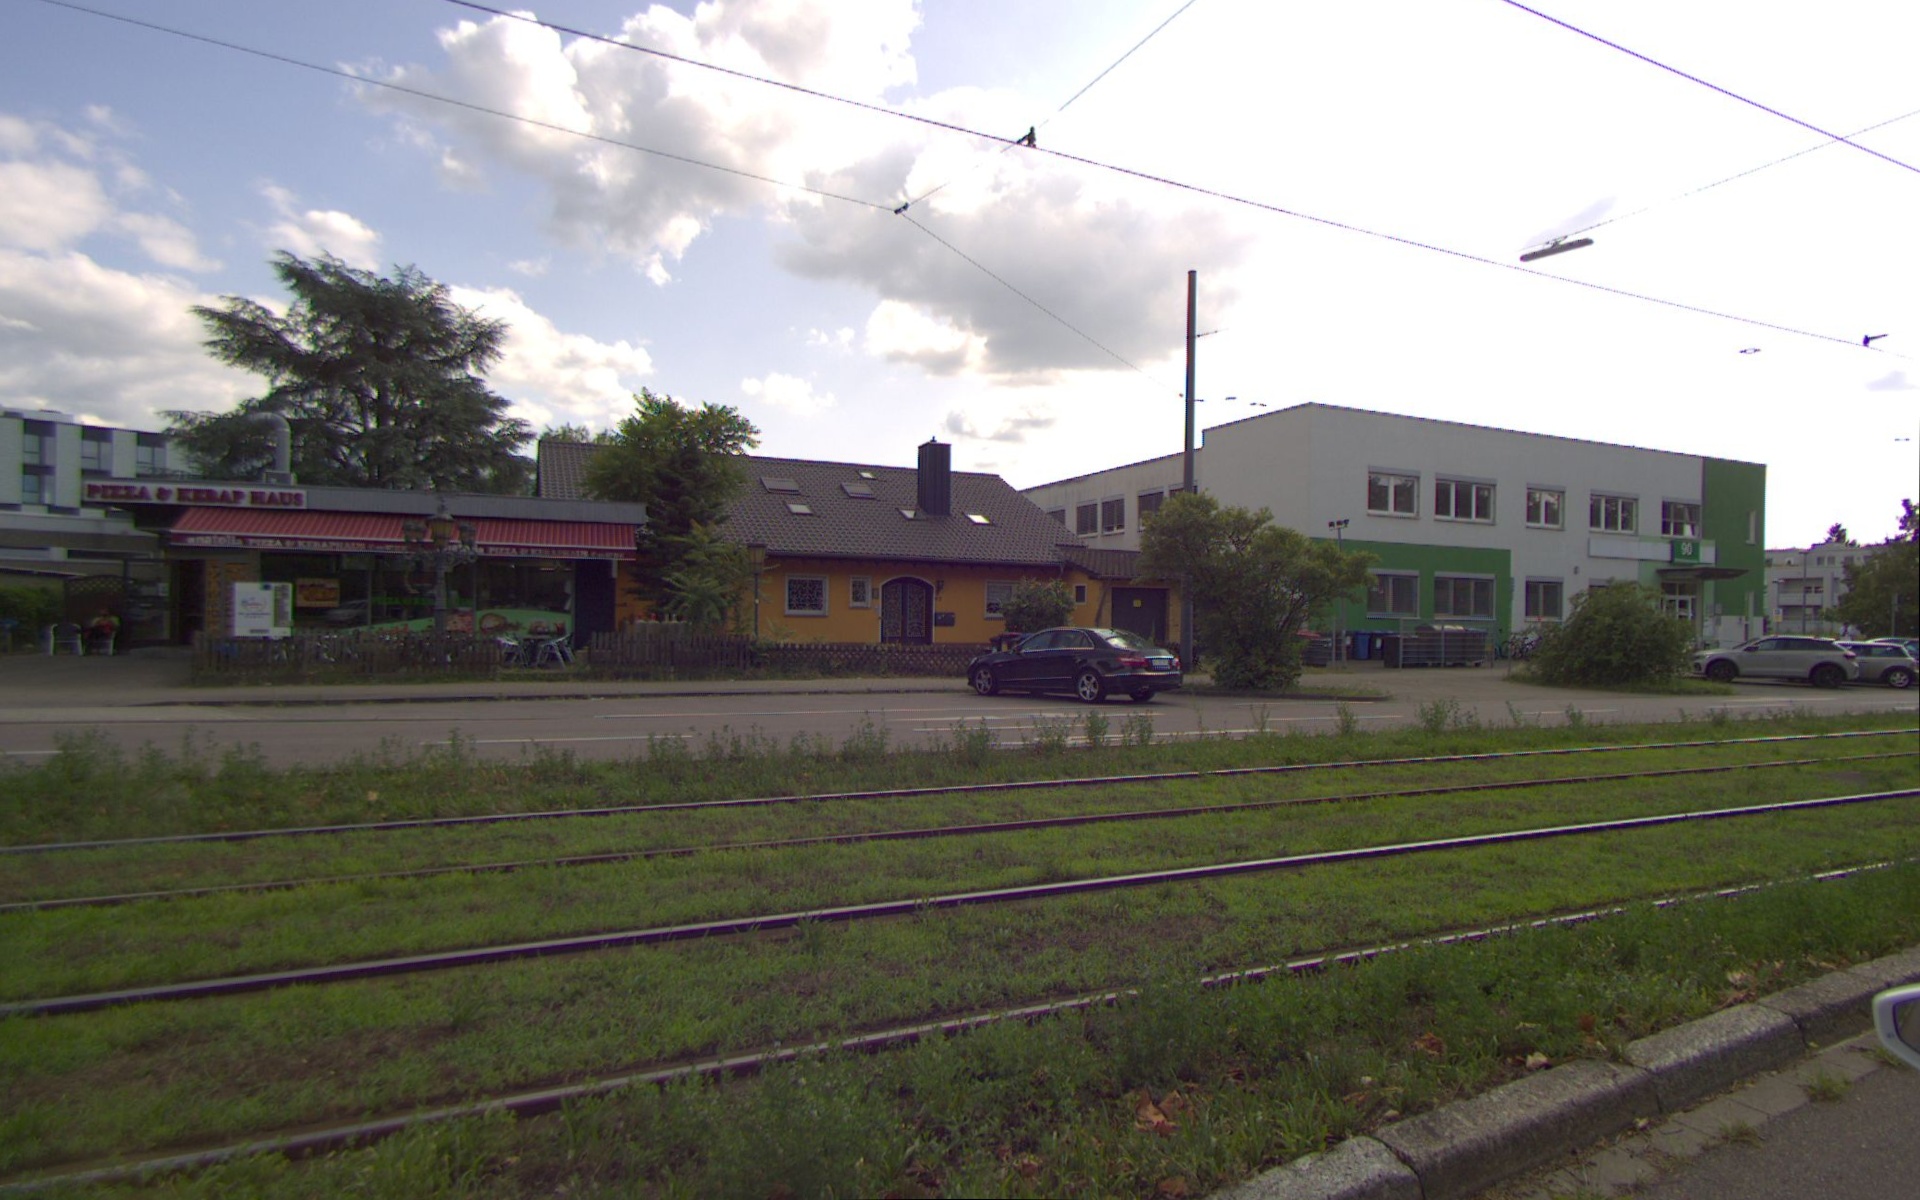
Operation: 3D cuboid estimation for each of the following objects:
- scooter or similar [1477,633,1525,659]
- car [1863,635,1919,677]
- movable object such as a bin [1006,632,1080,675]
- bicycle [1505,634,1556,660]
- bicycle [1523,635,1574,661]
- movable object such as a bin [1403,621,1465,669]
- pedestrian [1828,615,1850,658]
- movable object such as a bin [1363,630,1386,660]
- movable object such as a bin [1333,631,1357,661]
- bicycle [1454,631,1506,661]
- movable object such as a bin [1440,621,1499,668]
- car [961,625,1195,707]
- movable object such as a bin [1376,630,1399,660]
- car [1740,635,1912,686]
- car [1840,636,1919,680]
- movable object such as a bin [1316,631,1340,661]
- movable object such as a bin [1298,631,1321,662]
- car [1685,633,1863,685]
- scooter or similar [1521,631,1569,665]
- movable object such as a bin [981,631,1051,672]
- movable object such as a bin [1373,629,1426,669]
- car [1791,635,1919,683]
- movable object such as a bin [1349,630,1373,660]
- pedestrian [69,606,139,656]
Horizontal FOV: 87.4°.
[{"bbox_3d":[21.177,1.792,39.336,0.452,0.911,1.731,2,0,-23],"label":"scooter or similar"},{"bbox_3d":[36.351,2.095,37.182,4.168,1.501,1.876,0,-1,38],"label":"car"},{"bbox_3d":[2.231,1.431,27.189,1.596,1.115,1.250,1,-1,-25],"label":"movable object such as a bin"},{"bbox_3d":[22.596,1.869,39.839,0.452,0.911,1.853,2,0,-23],"label":"bicycle"},{"bbox_3d":[23.614,1.911,40.328,0.452,0.911,1.853,2,0,-23],"label":"bicycle"},{"bbox_3d":[15.965,1.486,33.860,1.686,1.540,1.004,0,1,-22],"label":"movable object such as a bin"},{"bbox_3d":[38.107,1.590,43.551,0.502,1.852,0.544,1,-1,-26],"label":"pedestrian"},{"bbox_3d":[15.288,1.665,37.047,0.556,1.056,0.567,0,1,-23],"label":"movable object such as a bin"},{"bbox_3d":[13.981,1.673,36.512,0.556,1.056,0.567,0,1,-23],"label":"movable object such as a bin"},{"bbox_3d":[19.925,1.757,38.519,0.452,0.999,1.853,2,0,-23],"label":"bicycle"},{"bbox_3d":[17.506,1.520,34.510,1.581,1.540,1.004,0,1,-22],"label":"movable object such as a bin"},{"bbox_3d":[2.272,1.271,20.346,1.870,1.425,4.592,4,-3,-43],"label":"car"},{"bbox_3d":[15.884,1.671,37.317,0.556,1.056,0.567,0,1,-23],"label":"movable object such as a bin"},{"bbox_3d":[28.320,1.944,33.044,4.168,1.501,1.876,0,-1,38],"label":"car"},{"bbox_3d":[33.906,2.053,35.449,4.168,1.501,1.876,0,-1,38],"label":"car"},{"bbox_3d":[13.280,1.661,36.230,0.556,1.056,0.567,0,1,-23],"label":"movable object such as a bin"},{"bbox_3d":[12.468,1.645,35.838,0.556,1.056,0.567,0,1,-23],"label":"movable object such as a bin"},{"bbox_3d":[25.693,1.821,31.912,4.162,1.501,1.879,0,-1,33],"label":"car"},{"bbox_3d":[22.016,1.791,37.832,1.072,1.171,1.307,2,0,5],"label":"scooter or similar"},{"bbox_3d":[1.588,1.449,28.502,1.596,1.107,1.250,1,-1,-25],"label":"movable object such as a bin"},{"bbox_3d":[14.563,1.613,33.284,1.238,1.251,1.004,0,1,-22],"label":"movable object such as a bin"},{"bbox_3d":[31.104,1.979,34.252,4.168,1.501,1.876,0,-1,38],"label":"car"},{"bbox_3d":[14.688,1.640,36.810,0.556,1.056,0.567,0,1,-23],"label":"movable object such as a bin"},{"bbox_3d":[-20.339,0.727,23.886,0.918,1.161,1.150,1,-1,-22],"label":"pedestrian"}]
